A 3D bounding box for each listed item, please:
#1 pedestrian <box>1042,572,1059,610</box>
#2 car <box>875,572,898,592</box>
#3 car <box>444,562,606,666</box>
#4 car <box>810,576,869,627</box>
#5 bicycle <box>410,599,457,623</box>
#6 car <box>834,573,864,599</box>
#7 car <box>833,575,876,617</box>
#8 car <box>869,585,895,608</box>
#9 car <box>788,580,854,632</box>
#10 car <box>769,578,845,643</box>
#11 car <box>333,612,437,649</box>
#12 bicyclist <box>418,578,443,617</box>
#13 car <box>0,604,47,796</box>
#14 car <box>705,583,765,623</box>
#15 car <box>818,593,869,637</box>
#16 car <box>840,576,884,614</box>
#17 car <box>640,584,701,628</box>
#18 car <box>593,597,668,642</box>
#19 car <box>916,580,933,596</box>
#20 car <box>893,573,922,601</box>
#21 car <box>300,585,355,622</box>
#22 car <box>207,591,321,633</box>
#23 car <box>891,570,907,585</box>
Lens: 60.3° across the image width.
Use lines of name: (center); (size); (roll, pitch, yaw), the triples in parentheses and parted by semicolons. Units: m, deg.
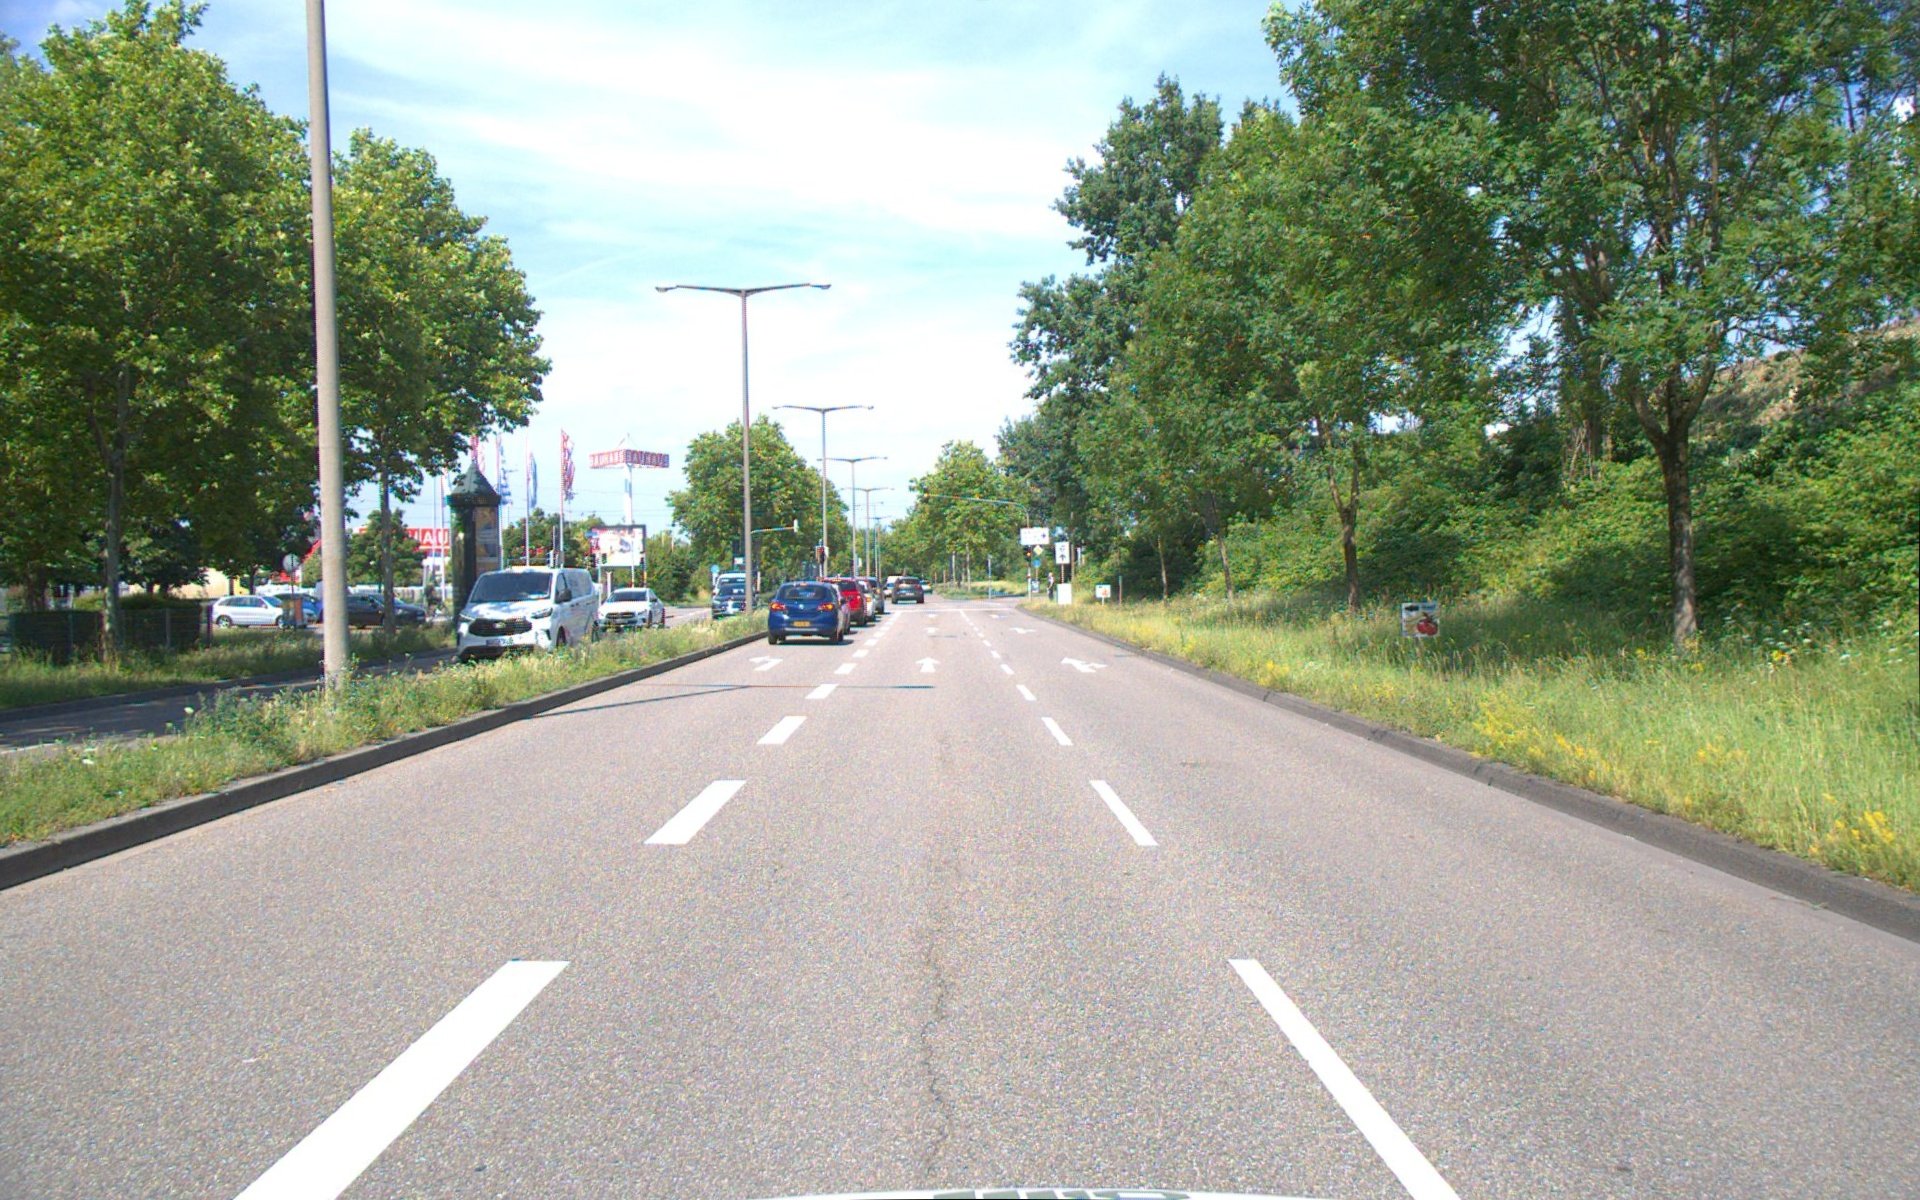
pedestrian: (4.848, -0.478, 88.661); (0.821, 1.966, 0.771); (-1, 3, -5)
car: (-6.941, -1.695, 156.257); (1.953, 1.738, 4.263); (-1, 0, -1)
car: (-8.929, 0.238, 34.470); (2.074, 1.916, 5.417); (-2, 1, -2)
car: (-3.993, 0.022, 55.472); (1.746, 1.620, 4.592); (0, 1, -2)
bicycle: (-24.478, 0.503, 76.897); (1.934, 1.000, 0.779); (-3, 3, -38)
car: (-8.416, -1.069, 125.525); (1.953, 1.892, 4.000); (-1, 0, 0)
car: (-4.331, -0.154, 68.254); (1.595, 1.623, 3.916); (-1, 0, -2)
car: (-6.472, -0.309, 136.957); (1.953, 1.774, 4.264); (-2, 0, -1)
car: (-4.011, 0.139, 48.330); (1.668, 1.414, 4.471); (0, 1, -2)
car: (-3.717, 0.212, 40.636); (1.593, 1.509, 4.047); (1, 1, -2)
car: (-23.473, 1.236, 67.502); (3.908, 1.412, 1.764); (-1, 2, 26)
bicyclist: (-24.580, -0.110, 76.798); (0.890, 1.745, 0.772); (-2, 3, -37)
car: (-8.336, 0.819, 11.401); (1.732, 1.494, 4.283); (-2, 0, -1)
car: (-9.436, 0.110, 69.697); (1.953, 1.557, 4.681); (-2, 1, -1)
car: (-4.258, 0.531, 61.028); (1.730, 1.505, 4.134); (0, 1, -2)
car: (-4.394, -0.222, 74.913); (1.843, 1.646, 4.211); (-1, 0, -2)
car: (-12.132, 0.243, 69.485); (1.937, 1.722, 3.998); (-2, 0, -2)
car: (-11.431, 0.636, 57.621); (1.751, 1.422, 4.358); (-2, 0, -1)
car: (-3.936, -1.338, 184.284); (1.836, 1.806, 4.000); (-2, 0, 0)
car: (-3.212, -0.801, 101.184); (1.701, 1.562, 4.001); (-1, 3, -1)
car: (-45.462, 0.257, 118.862); (1.986, 2.577, 4.563); (-2, 1, -45)
car: (-29.041, 0.489, 69.014); (4.061, 1.631, 1.724); (-2, 0, 11)
car: (-7.972, -2.908, 216.219); (1.839, 1.806, 3.994); (-2, 0, -7)
